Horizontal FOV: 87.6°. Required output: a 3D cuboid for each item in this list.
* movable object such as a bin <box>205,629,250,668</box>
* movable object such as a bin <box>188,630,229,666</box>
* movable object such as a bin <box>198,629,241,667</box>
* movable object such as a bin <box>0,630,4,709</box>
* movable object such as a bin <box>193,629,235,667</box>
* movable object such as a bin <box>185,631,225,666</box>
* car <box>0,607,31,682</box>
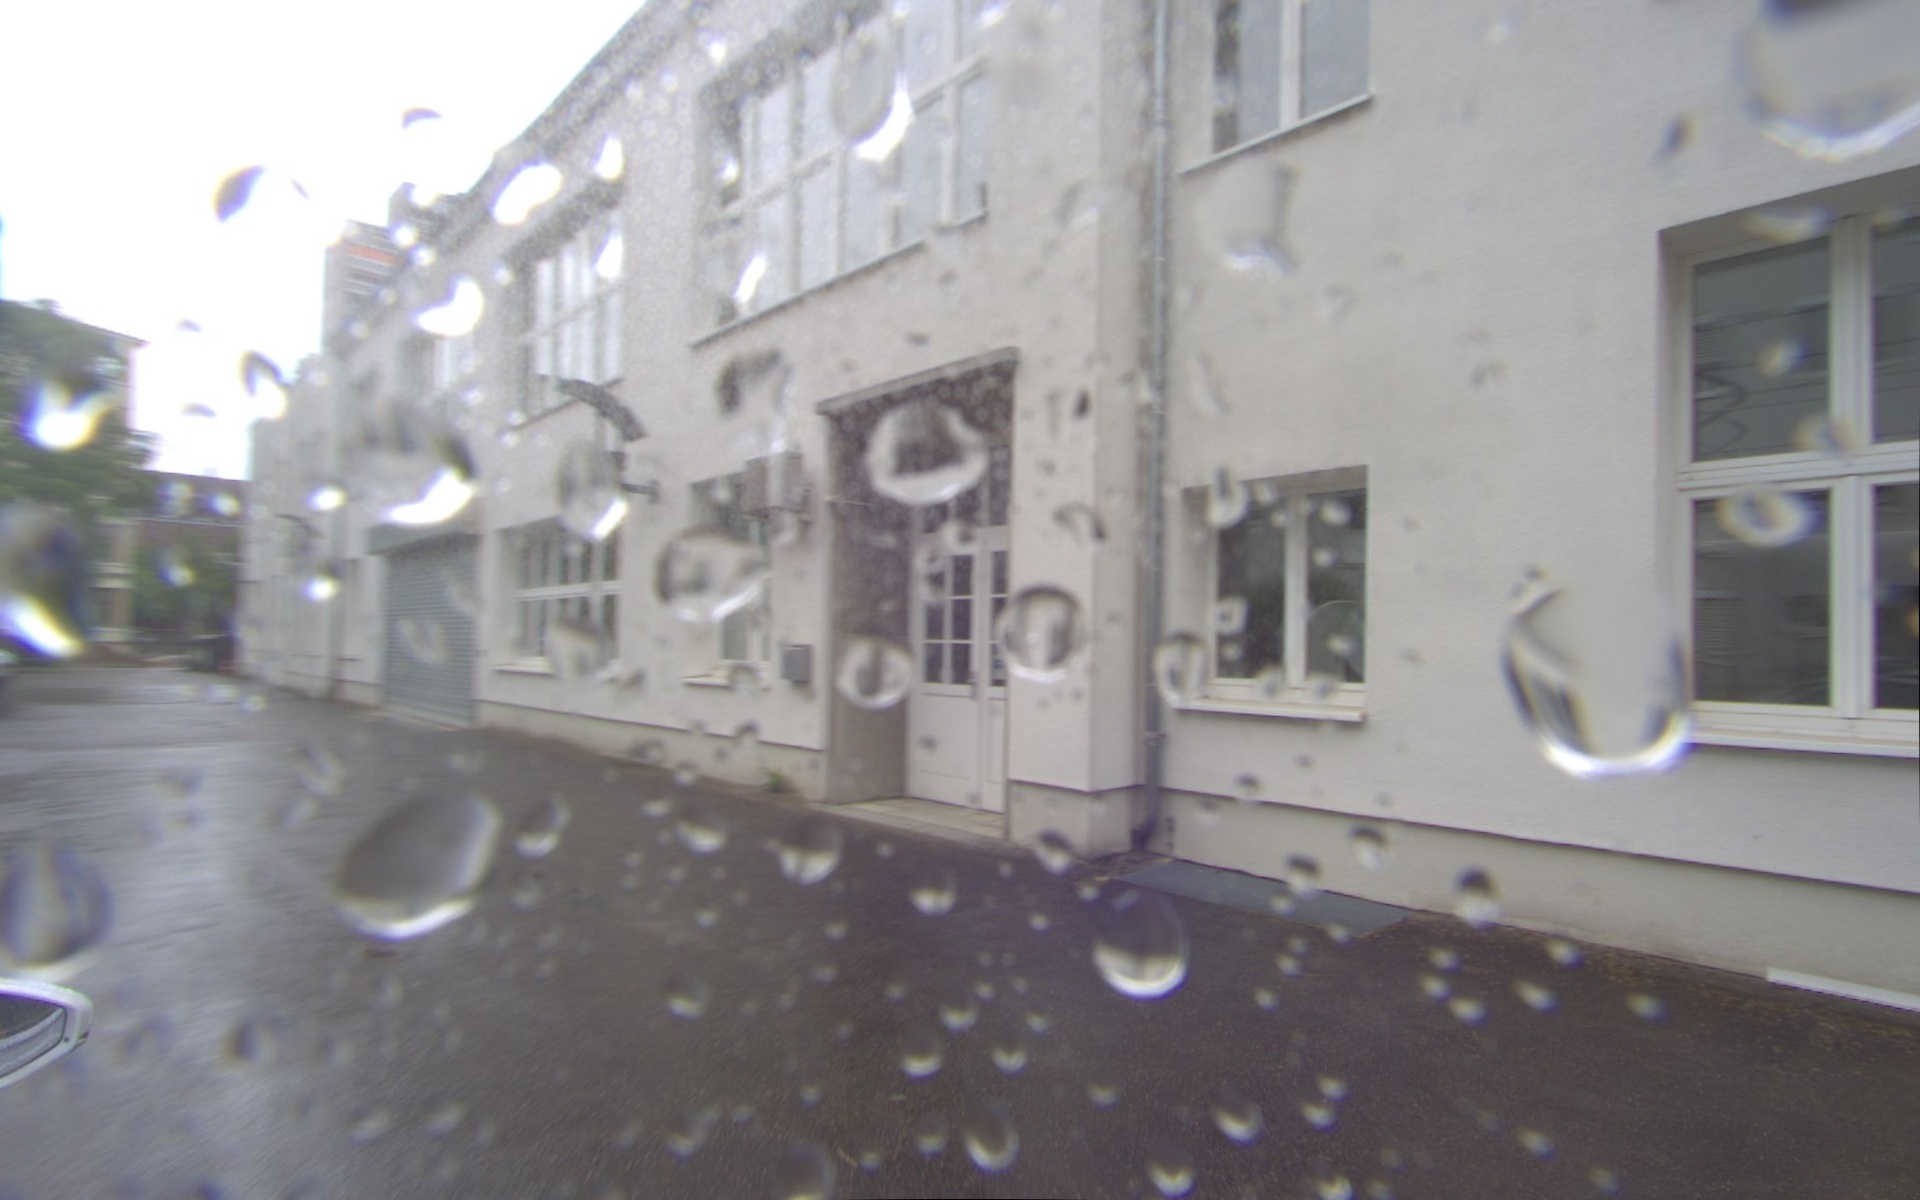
[{"bbox_3d":[-28.460,1.885,38.904,1.207,1.454,1.224,4,-5,-44],"label":"movable object such as a bin"},{"bbox_3d":[-31.730,2.035,42.302,1.207,1.454,1.248,4,-5,-44],"label":"movable object such as a bin"},{"bbox_3d":[-29.648,1.931,40.090,1.207,1.454,1.282,4,-5,-44],"label":"movable object such as a bin"},{"bbox_3d":[-16.667,1.156,16.514,1.213,1.354,0.997,3,-2,-41],"label":"movable object such as a bin"},{"bbox_3d":[-30.777,1.990,41.326,1.207,1.486,1.224,4,-5,-44],"label":"movable object such as a bin"},{"bbox_3d":[-32.656,2.117,43.305,1.207,1.454,1.248,4,-5,-44],"label":"movable object such as a bin"},{"bbox_3d":[-28.198,1.168,26.803,4.746,2.039,1.982,2,-2,-41],"label":"car"}]
